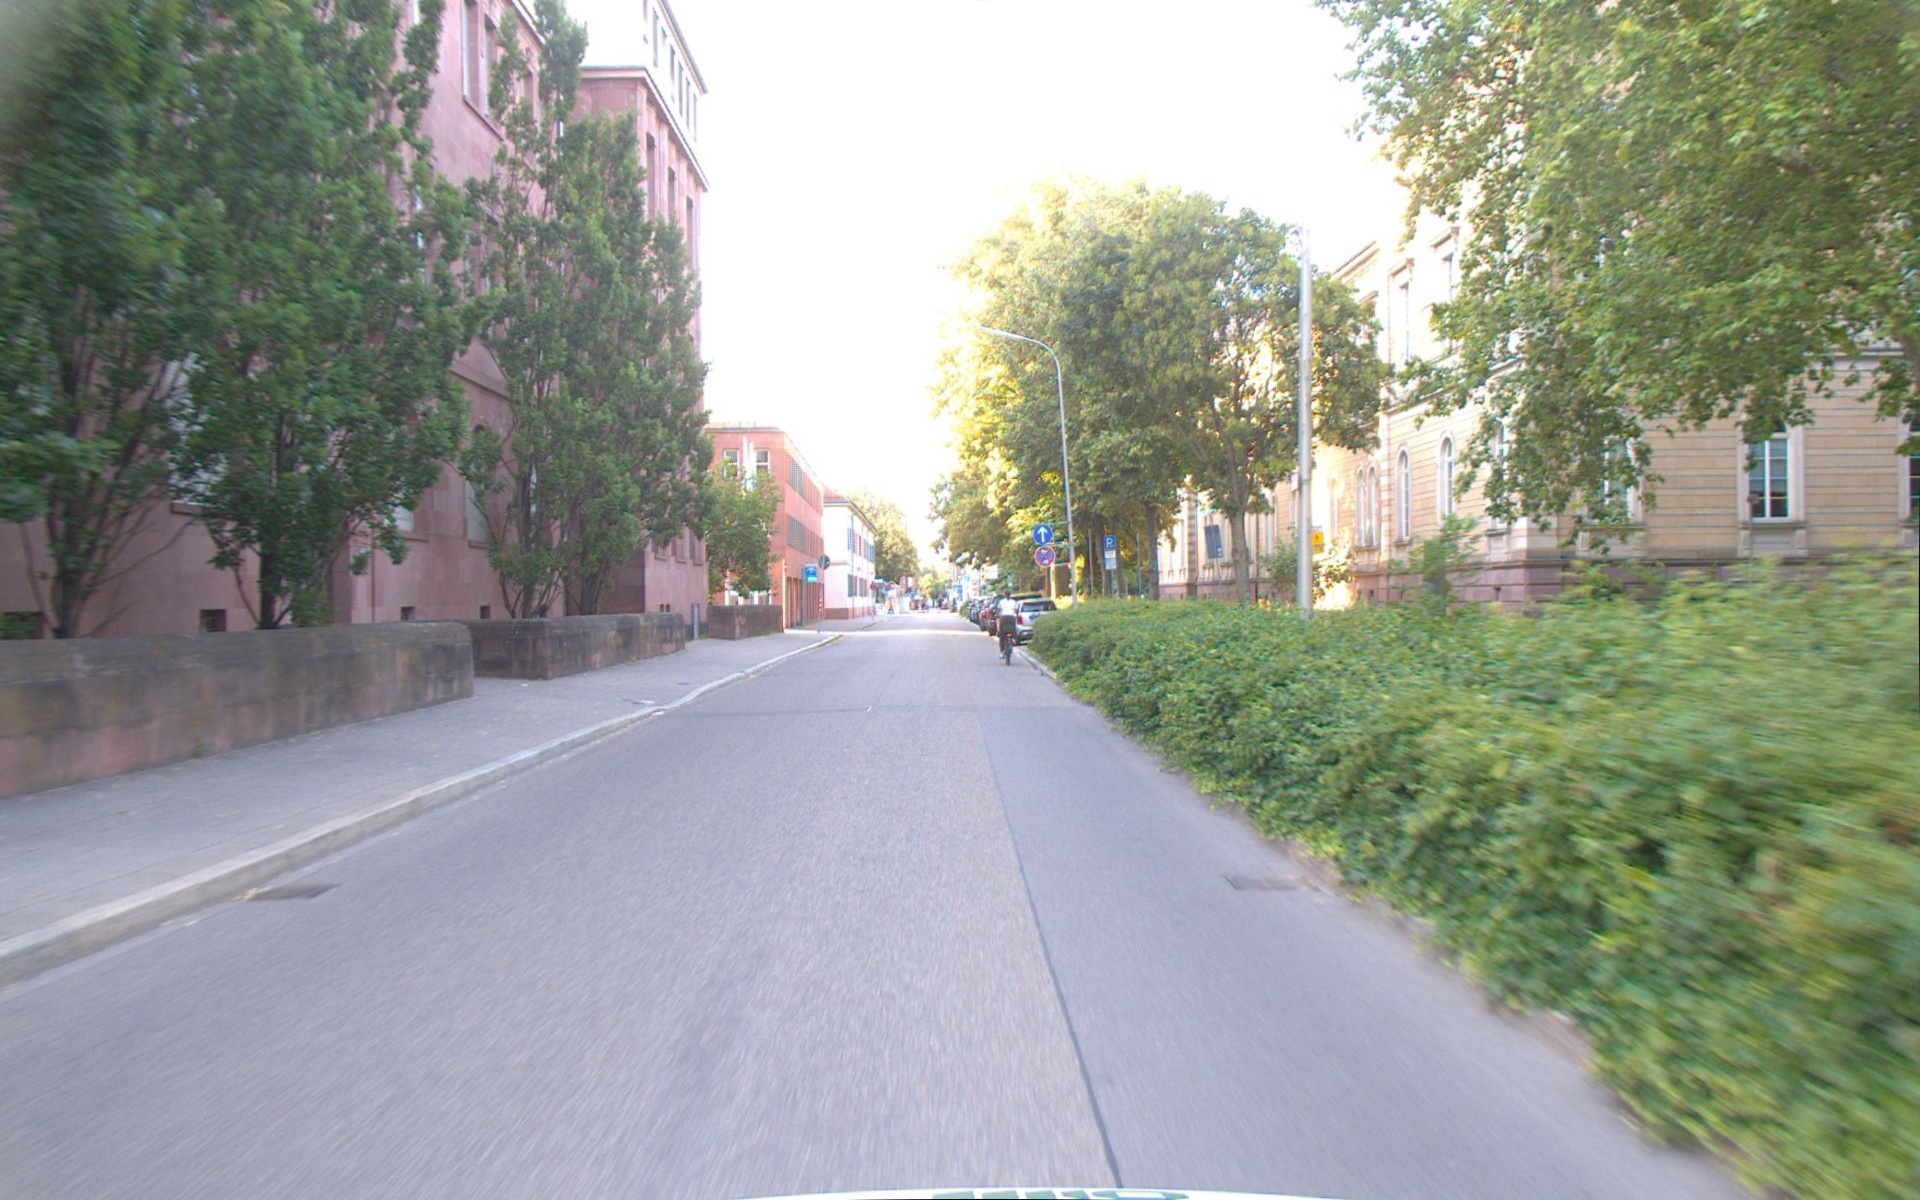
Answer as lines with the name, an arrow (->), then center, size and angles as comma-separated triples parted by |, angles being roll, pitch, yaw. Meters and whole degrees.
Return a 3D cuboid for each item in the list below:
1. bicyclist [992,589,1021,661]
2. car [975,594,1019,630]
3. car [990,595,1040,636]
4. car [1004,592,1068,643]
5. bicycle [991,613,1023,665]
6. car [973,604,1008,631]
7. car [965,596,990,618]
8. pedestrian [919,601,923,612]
bicyclist -> 1.128, 0.595, 39.943 | 0.626, 1.696, 0.842 | 1, 0, -3
car -> 1.841, 0.589, 82.999 | 1.953, 1.735, 3.999 | -1, 0, -2
car -> 2.185, 0.623, 66.985 | 1.681, 1.564, 4.046 | -1, 0, -3
car -> 2.412, 0.569, 53.319 | 1.652, 1.472, 3.670 | -3, -1, -3
bicycle -> 1.121, 0.930, 39.993 | 0.625, 1.214, 1.875 | 1, 0, -2
car -> 1.886, 1.080, 103.975 | 1.953, 1.612, 3.999 | -1, 0, -2
car -> 1.463, 0.612, 141.498 | 1.953, 1.779, 3.999 | -1, 0, -2
pedestrian -> -5.129, 0.832, 216.717 | 0.523, 1.497, 0.448 | -1, 0, -3
